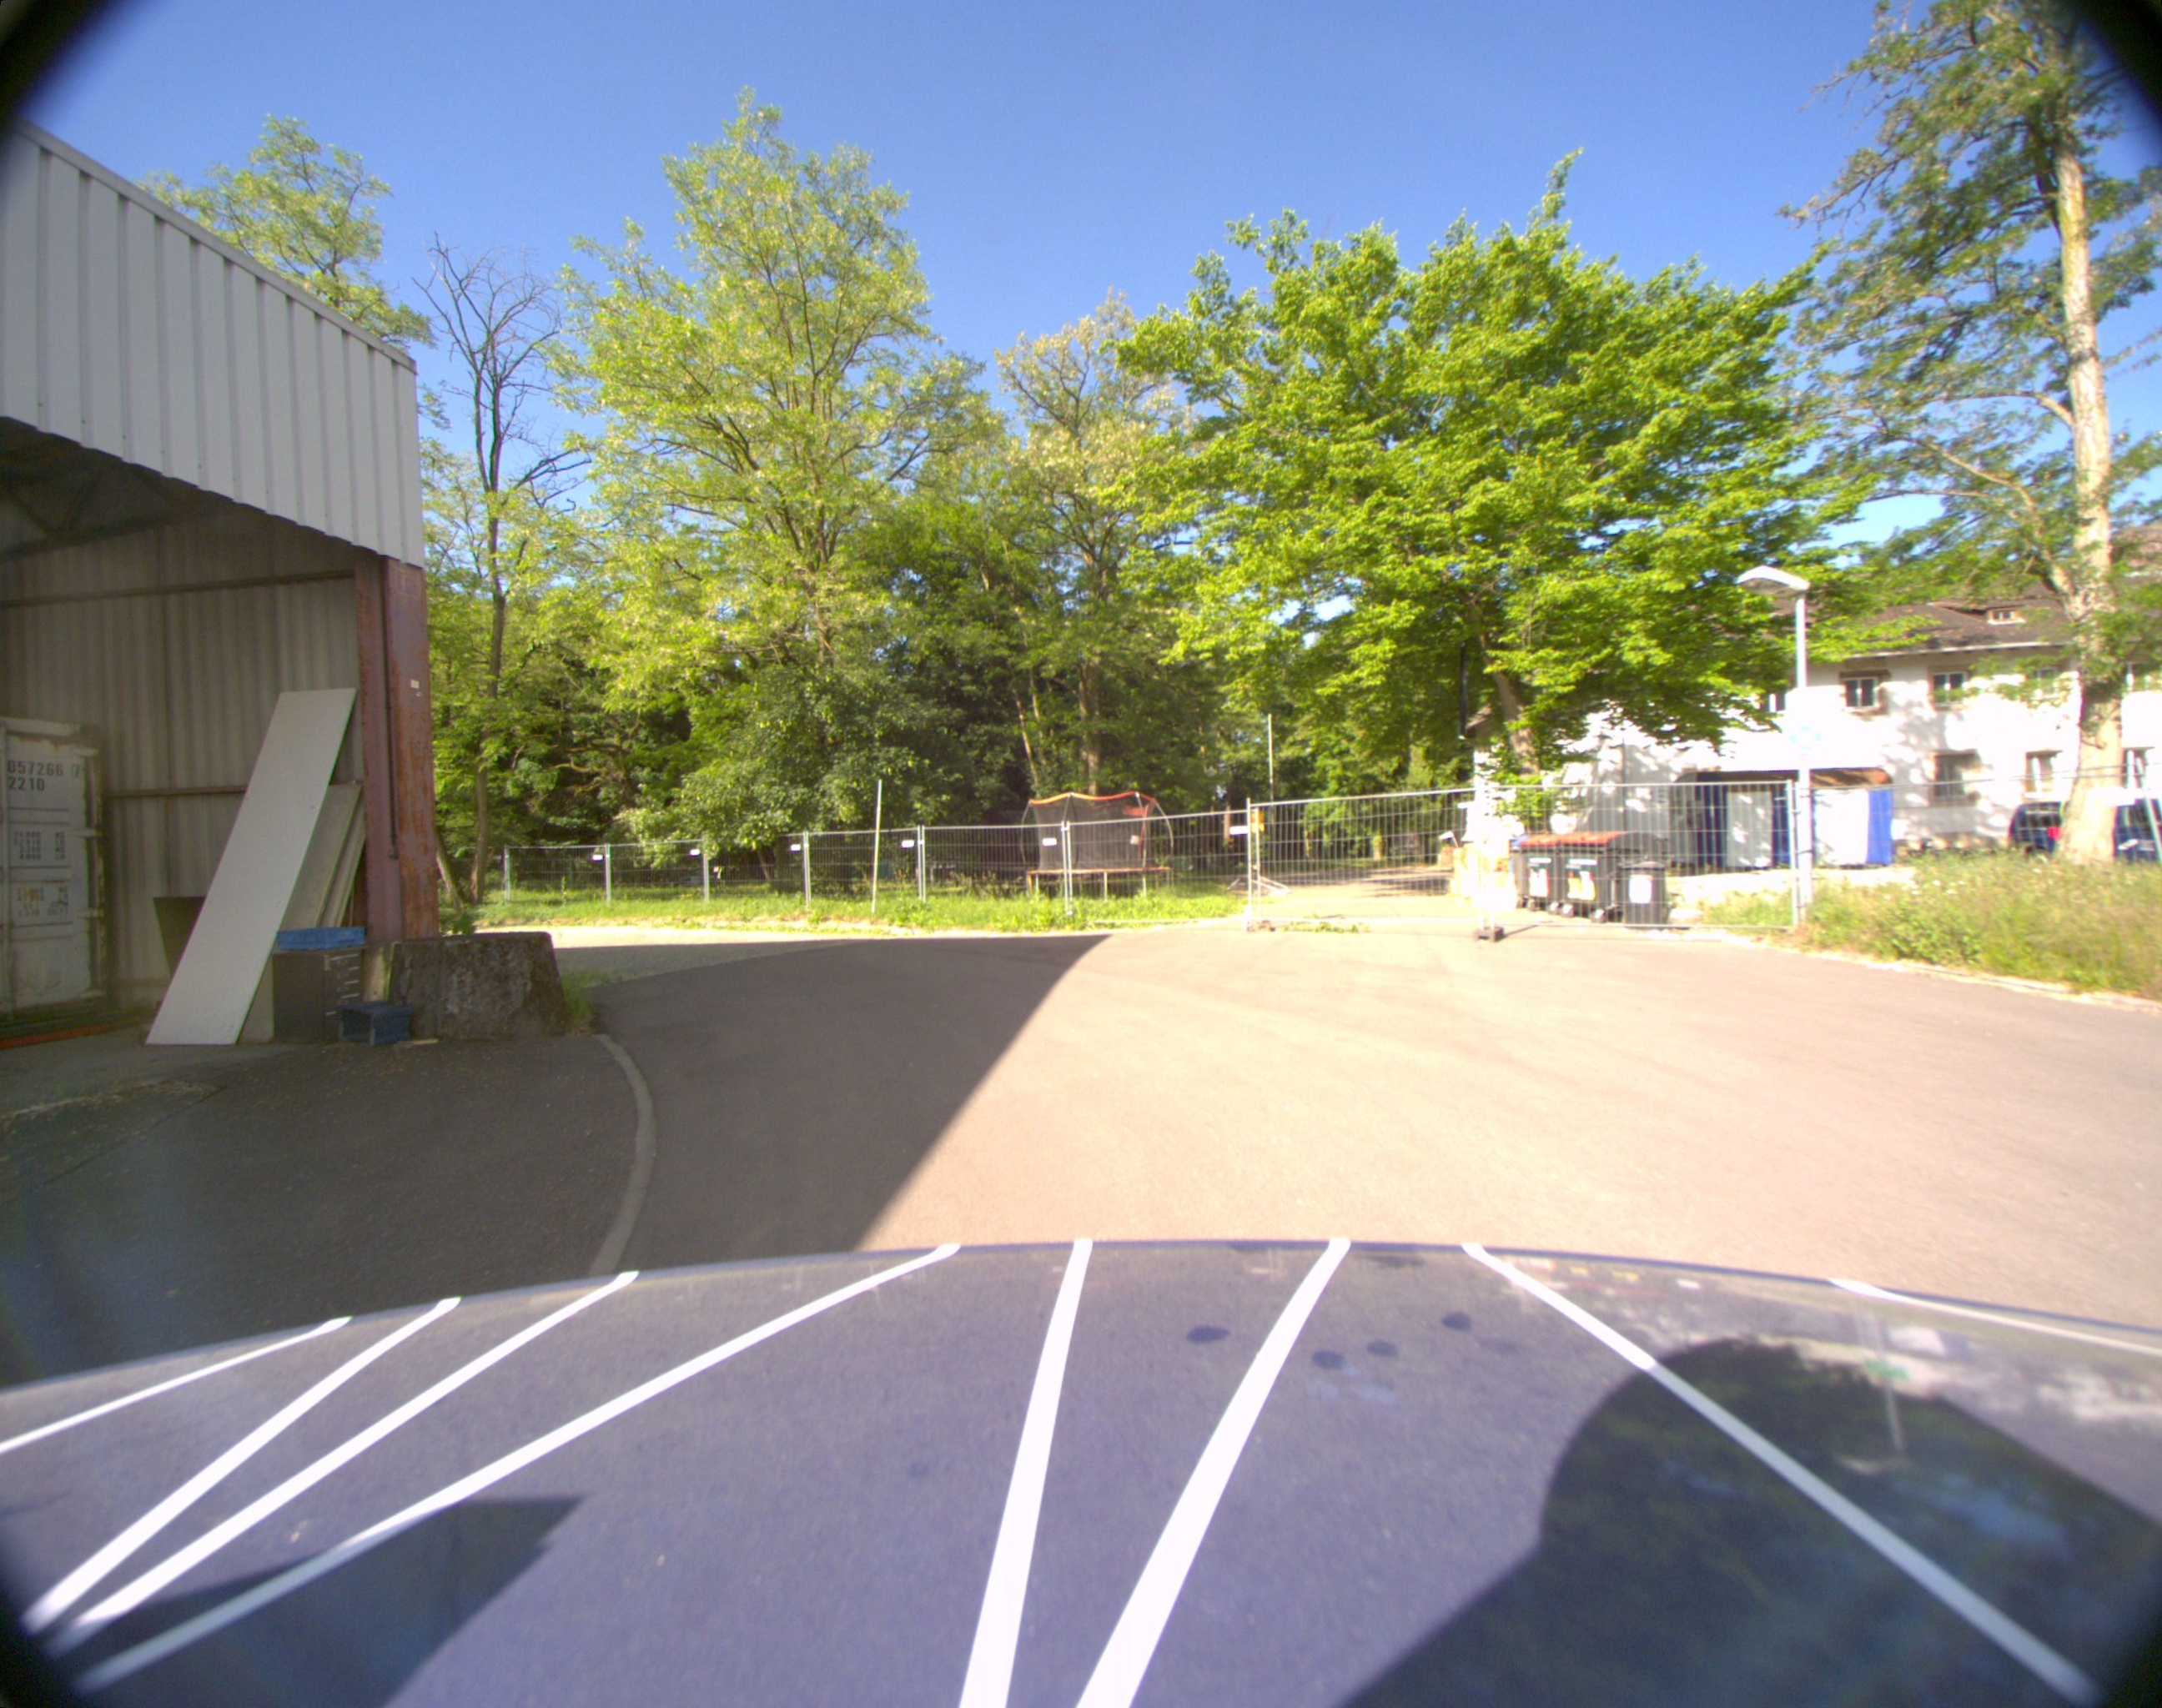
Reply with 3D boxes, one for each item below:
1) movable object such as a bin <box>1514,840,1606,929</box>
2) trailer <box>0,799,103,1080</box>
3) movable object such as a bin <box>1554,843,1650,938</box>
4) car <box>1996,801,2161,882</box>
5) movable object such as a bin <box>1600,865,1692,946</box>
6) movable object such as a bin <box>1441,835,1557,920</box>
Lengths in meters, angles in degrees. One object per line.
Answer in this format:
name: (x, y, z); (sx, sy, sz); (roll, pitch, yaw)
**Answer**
movable object such as a bin: (8.475, 0.511, 13.509); (0.806, 1.475, 1.342); (-2, 1, 2)
trailer: (-8.211, 0.631, 5.463); (0.581, 2.055, 1.284); (-3, -1, 5)
movable object such as a bin: (8.314, 0.551, 12.175); (0.702, 1.436, 1.249); (-1, 1, 3)
car: (26.379, -0.315, 18.789); (1.998, 1.891, 4.726); (0, 1, 4)
movable object such as a bin: (8.097, 0.730, 10.932); (0.818, 1.091, 0.739); (-1, 1, 12)
movable object such as a bin: (8.488, 0.441, 15.605); (1.173, 1.582, 2.296); (-2, 1, 3)
